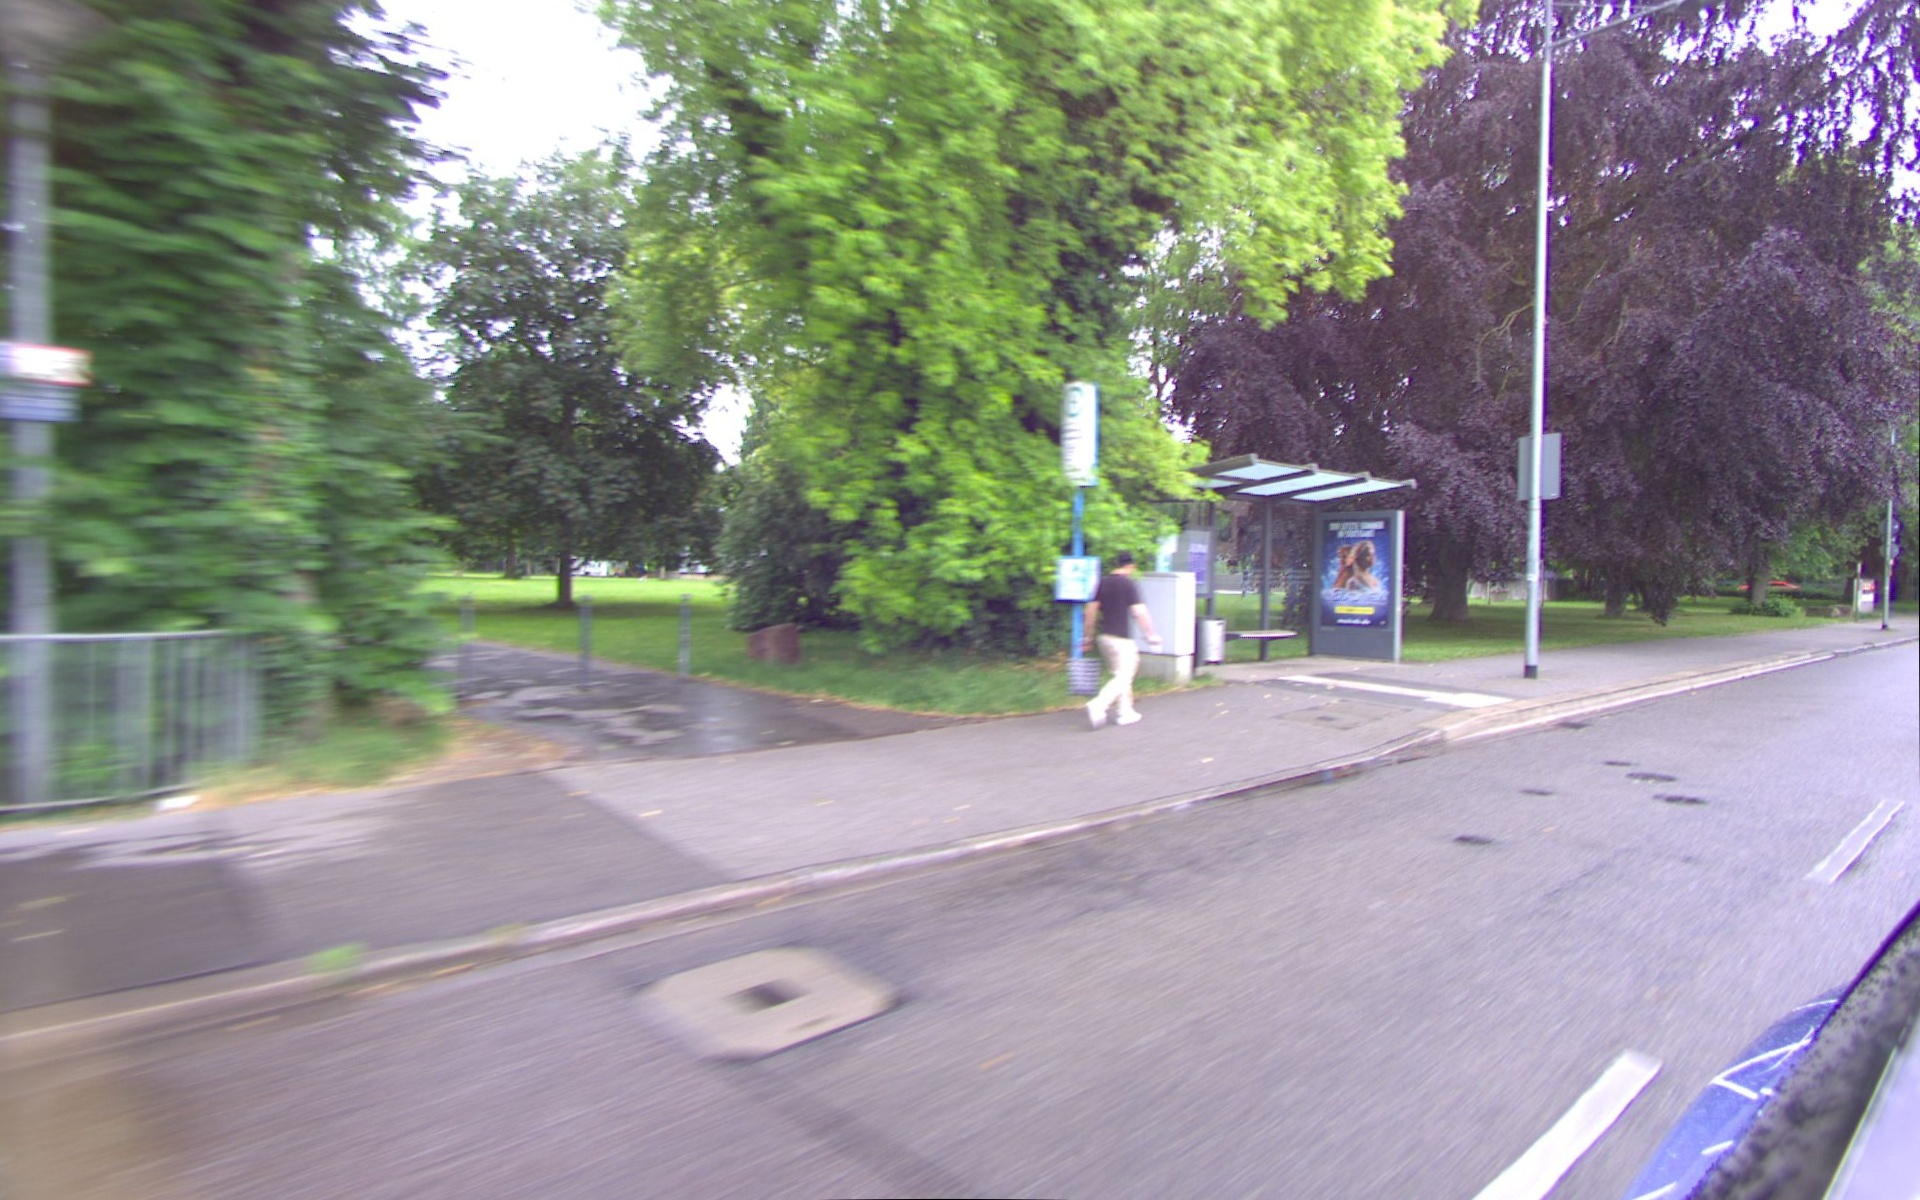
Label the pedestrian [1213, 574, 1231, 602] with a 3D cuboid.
[{"bbox_3d":[17.109,-0.767,66.066,0.838,1.785,0.760,-1,0,44],"label":"pedestrian"}]

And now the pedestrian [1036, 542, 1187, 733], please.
[{"bbox_3d":[1.464,0.311,9.784,1.147,1.696,0.849,-1,4,-41],"label":"pedestrian"}]

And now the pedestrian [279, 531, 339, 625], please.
[{"bbox_3d":[-12.615,-0.440,19.614,1.058,1.774,0.770,2,2,45],"label":"pedestrian"}]

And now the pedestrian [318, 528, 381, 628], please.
[{"bbox_3d":[-11.295,-0.416,18.724,1.058,1.774,0.770,2,2,45],"label":"pedestrian"}]

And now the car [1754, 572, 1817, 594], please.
[{"bbox_3d":[71.599,-1.458,87.769,1.966,1.737,3.992,0,3,-43],"label":"car"}]
